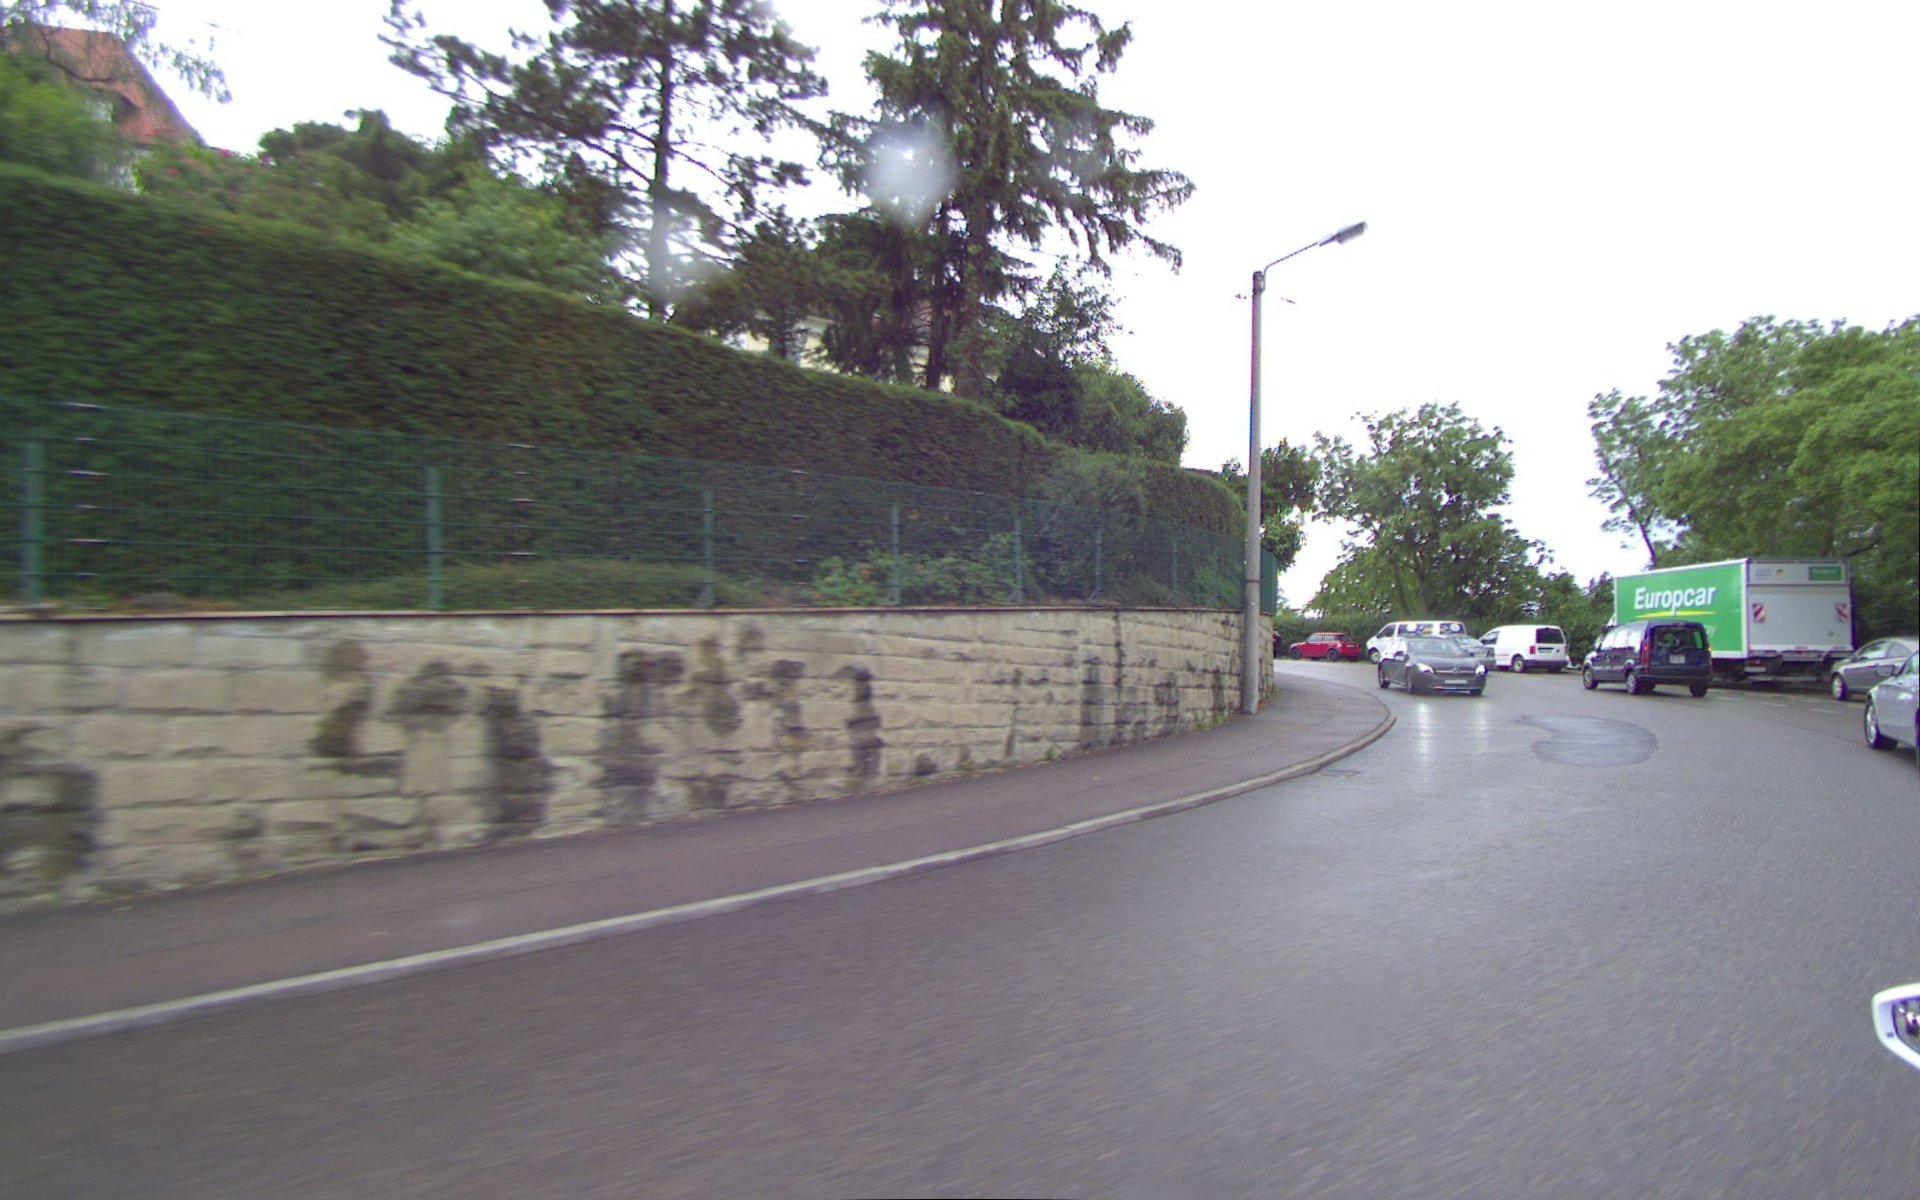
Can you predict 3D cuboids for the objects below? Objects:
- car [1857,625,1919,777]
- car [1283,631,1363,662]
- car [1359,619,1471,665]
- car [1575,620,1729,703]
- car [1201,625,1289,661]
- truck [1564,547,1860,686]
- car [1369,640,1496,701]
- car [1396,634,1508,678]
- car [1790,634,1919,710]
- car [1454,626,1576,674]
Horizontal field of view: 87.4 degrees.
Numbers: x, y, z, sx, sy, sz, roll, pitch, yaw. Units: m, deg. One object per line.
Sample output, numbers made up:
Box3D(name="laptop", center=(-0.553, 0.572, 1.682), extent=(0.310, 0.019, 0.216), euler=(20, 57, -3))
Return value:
Box3D(name="car", center=(11.583, 1.085, 11.087), extent=(1.956, 1.574, 4.285), euler=(-1, -2, 35))
Box3D(name="car", center=(18.471, 2.376, 51.266), extent=(1.656, 1.432, 3.715), euler=(3, -2, -28))
Box3D(name="car", center=(20.491, 1.878, 45.439), extent=(1.837, 1.974, 4.786), euler=(2, -2, -20))
Box3D(name="car", center=(17.488, 1.526, 25.620), extent=(1.793, 1.907, 4.098), euler=(-2, -2, 13))
Box3D(name="car", center=(15.898, 2.391, 56.260), extent=(2.007, 1.806, 4.867), euler=(4, -2, -26))
Box3D(name="truck", center=(21.878, 0.567, 30.127), extent=(2.726, 3.516, 8.939), euler=(-1, -2, 5))
Box3D(name="car", center=(12.344, 1.809, 26.540), extent=(1.757, 1.453, 4.118), euler=(0, -2, 5))
Box3D(name="car", center=(17.741, 2.002, 36.464), extent=(1.824, 1.477, 4.094), euler=(-1, -2, -4))
Box3D(name="car", center=(20.695, 1.542, 22.463), extent=(1.704, 1.523, 4.138), euler=(-2, -3, 15))
Box3D(name="car", center=(21.798, 1.932, 39.679), extent=(1.833, 1.794, 4.369), euler=(1, -2, -12))
